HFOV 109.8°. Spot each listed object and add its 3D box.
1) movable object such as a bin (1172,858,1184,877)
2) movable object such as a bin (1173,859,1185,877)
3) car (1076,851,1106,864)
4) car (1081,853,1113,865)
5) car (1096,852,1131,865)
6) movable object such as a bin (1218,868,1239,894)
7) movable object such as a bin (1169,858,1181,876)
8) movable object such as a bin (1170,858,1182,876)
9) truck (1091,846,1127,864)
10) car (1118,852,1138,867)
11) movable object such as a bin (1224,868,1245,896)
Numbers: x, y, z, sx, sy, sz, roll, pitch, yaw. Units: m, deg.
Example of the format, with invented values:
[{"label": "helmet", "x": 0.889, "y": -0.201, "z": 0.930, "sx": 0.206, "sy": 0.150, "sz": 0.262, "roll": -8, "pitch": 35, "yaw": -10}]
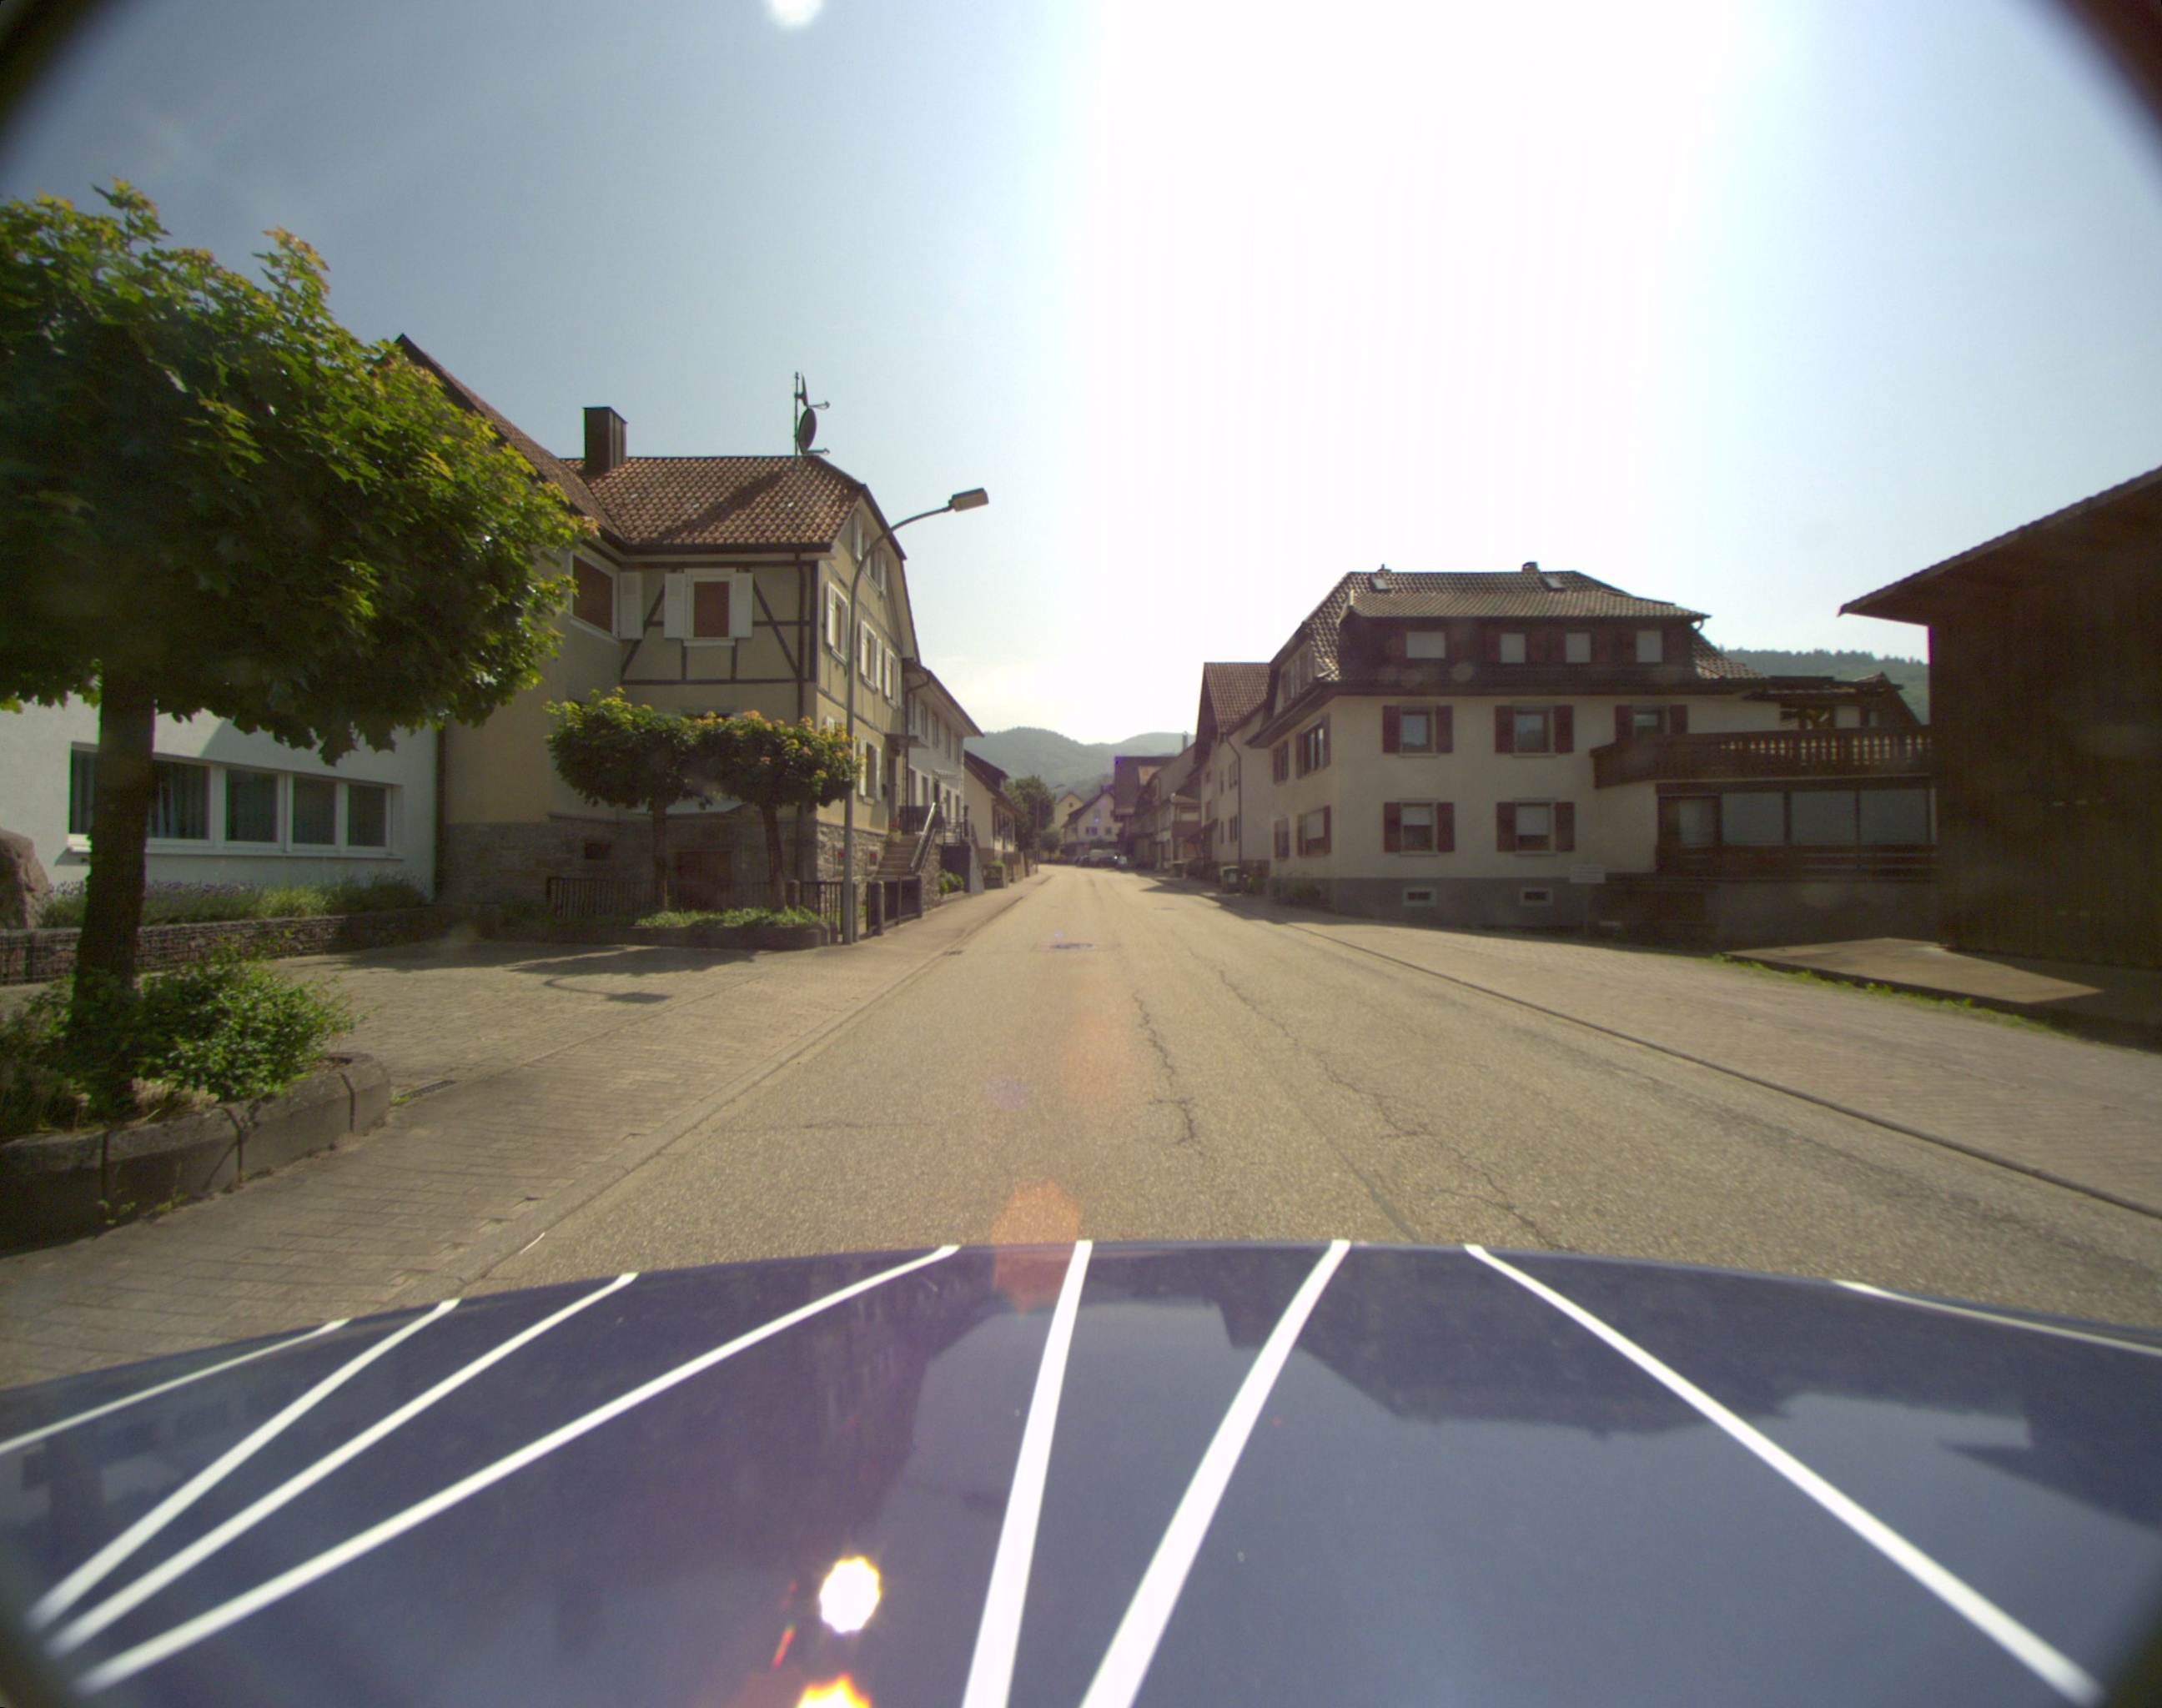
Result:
[{"label": "movable object such as a bin", "x": 6.438, "y": 0.894, "z": 50.609, "sx": 0.719, "sy": 1.174, "sz": 0.598, "roll": 2, "pitch": 0, "yaw": 1}, {"label": "movable object such as a bin", "x": 6.436, "y": 0.902, "z": 49.952, "sx": 0.719, "sy": 1.174, "sz": 0.598, "roll": 2, "pitch": 0, "yaw": 1}, {"label": "car", "x": 1.311, "y": 0.470, "z": 102.304, "sx": 3.996, "sy": 1.563, "sz": 1.577, "roll": 2, "pitch": 0, "yaw": 1}, {"label": "car", "x": 2.105, "y": 0.630, "z": 99.241, "sx": 3.999, "sy": 1.444, "sz": 1.627, "roll": 2, "pitch": 0, "yaw": -4}, {"label": "car", "x": 3.851, "y": 0.517, "z": 90.381, "sx": 4.106, "sy": 1.494, "sz": 1.753, "roll": 0, "pitch": 0, "yaw": -2}, {"label": "movable object such as a bin", "x": 5.968, "y": 1.091, "z": 30.779, "sx": 0.677, "sy": 1.060, "sz": 0.653, "roll": 0, "pitch": 1, "yaw": -2}, {"label": "movable object such as a bin", "x": 6.439, "y": 0.879, "z": 51.920, "sx": 0.719, "sy": 1.174, "sz": 0.598, "roll": 2, "pitch": 0, "yaw": 1}, {"label": "movable object such as a bin", "x": 6.424, "y": 0.887, "z": 51.260, "sx": 0.719, "sy": 1.174, "sz": 0.598, "roll": 2, "pitch": 0, "yaw": 1}, {"label": "truck", "x": 3.498, "y": 0.128, "z": 95.308, "sx": 4.178, "sy": 2.253, "sz": 1.999, "roll": -1, "pitch": 1, "yaw": -5}, {"label": "car", "x": 5.114, "y": 0.598, "z": 82.970, "sx": 1.775, "sy": 1.544, "sz": 4.284, "roll": -1, "pitch": 0, "yaw": -3}, {"label": "movable object such as a bin", "x": 5.980, "y": 1.078, "z": 29.590, "sx": 0.677, "sy": 1.060, "sz": 0.621, "roll": 0, "pitch": 1, "yaw": -2}]
